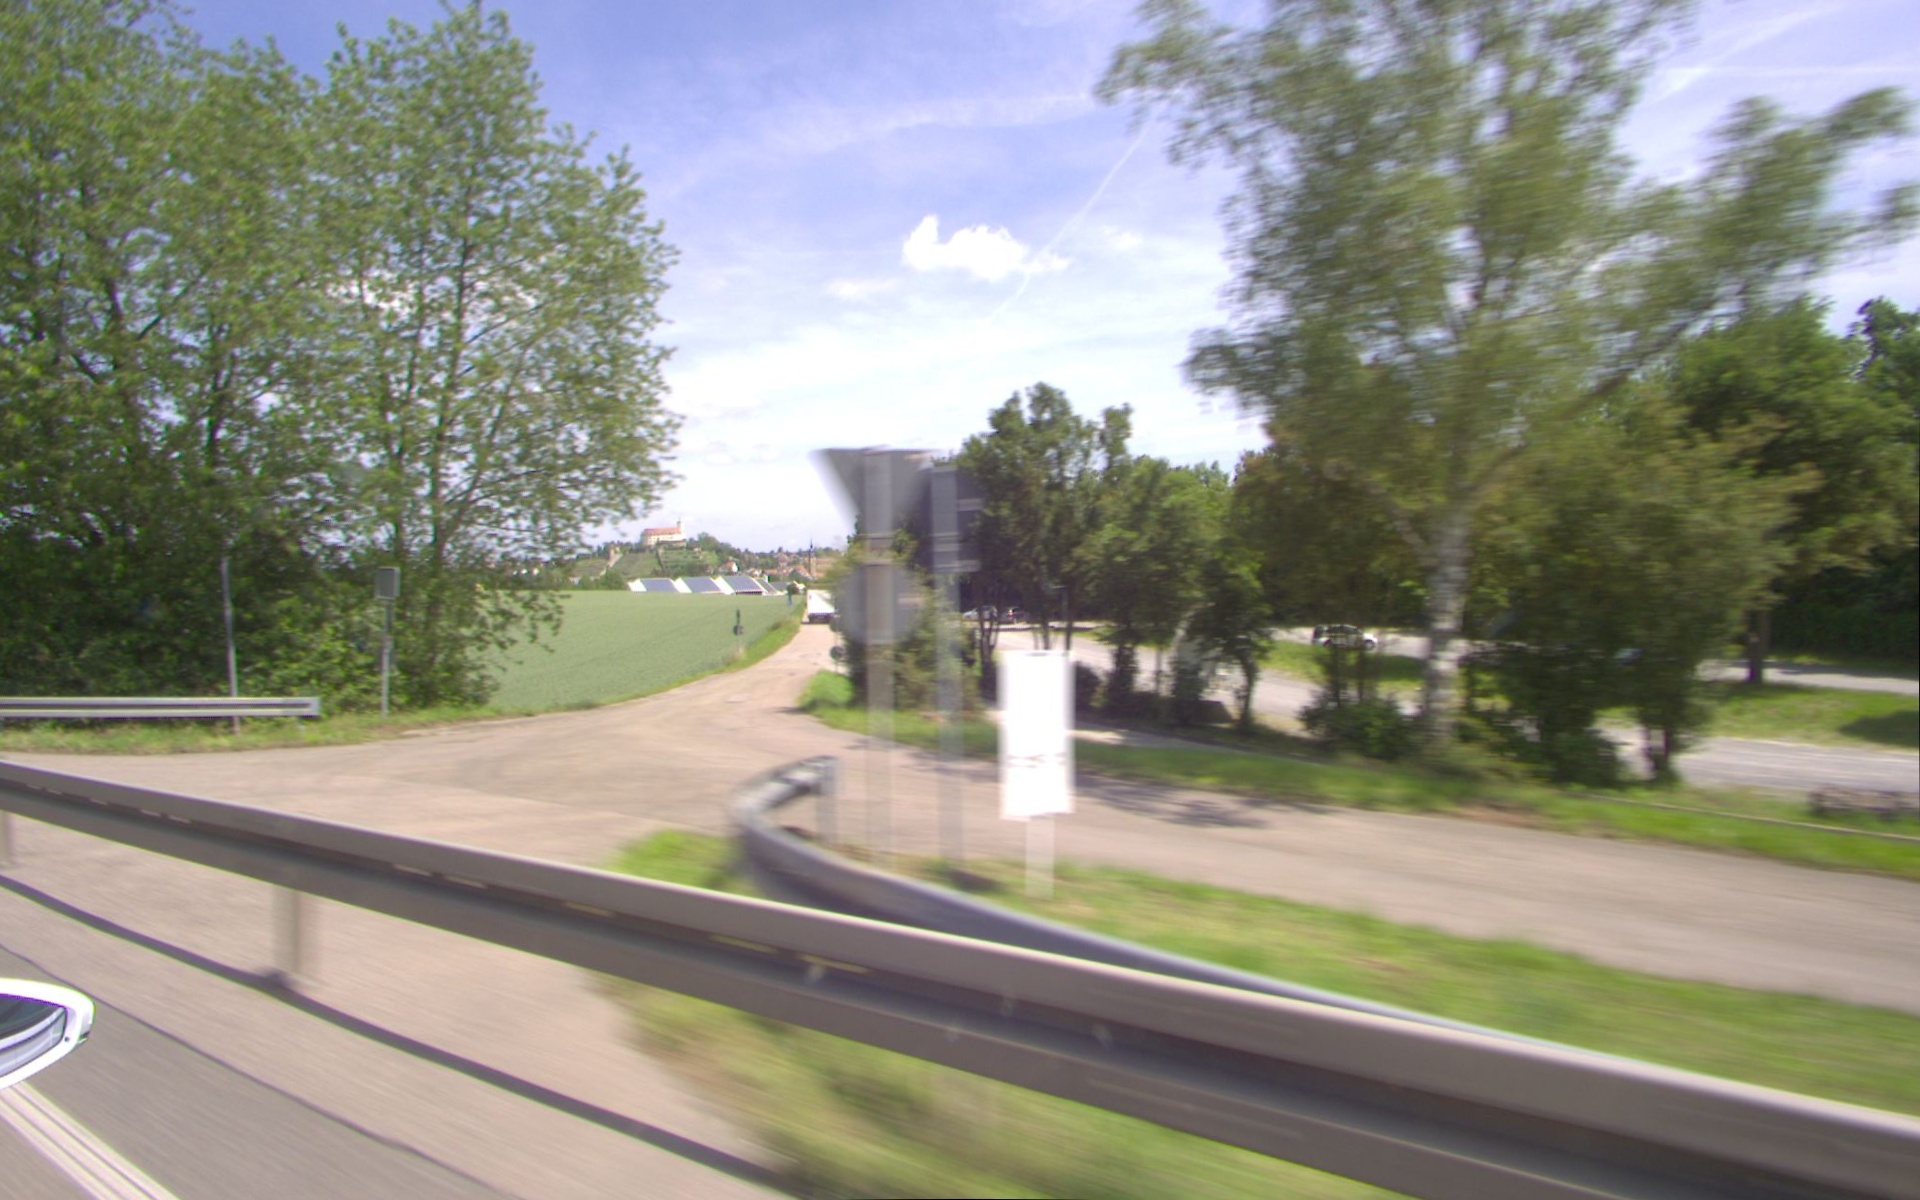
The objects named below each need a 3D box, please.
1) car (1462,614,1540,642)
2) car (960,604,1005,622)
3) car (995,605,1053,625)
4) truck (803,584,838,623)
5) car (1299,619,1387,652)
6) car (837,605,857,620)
[{"bbox_3d":[33.366,1.708,61.784,4.093,1.512,1.897,-2,2,-18],"label":"car"},{"bbox_3d":[2.223,1.295,97.064,3.928,1.562,1.998,-3,-2,16],"label":"car"},{"bbox_3d":[5.847,1.376,91.490,4.855,1.726,1.993,1,0,27],"label":"car"},{"bbox_3d":[-13.935,0.265,99.614,3.093,3.584,7.130,-2,2,-9],"label":"truck"},{"bbox_3d":[21.848,2.016,57.185,4.260,1.681,1.999,-1,2,-3],"label":"car"},{"bbox_3d":[-11.881,1.347,105.512,1.805,1.427,4.441,-2,1,-10],"label":"car"}]
